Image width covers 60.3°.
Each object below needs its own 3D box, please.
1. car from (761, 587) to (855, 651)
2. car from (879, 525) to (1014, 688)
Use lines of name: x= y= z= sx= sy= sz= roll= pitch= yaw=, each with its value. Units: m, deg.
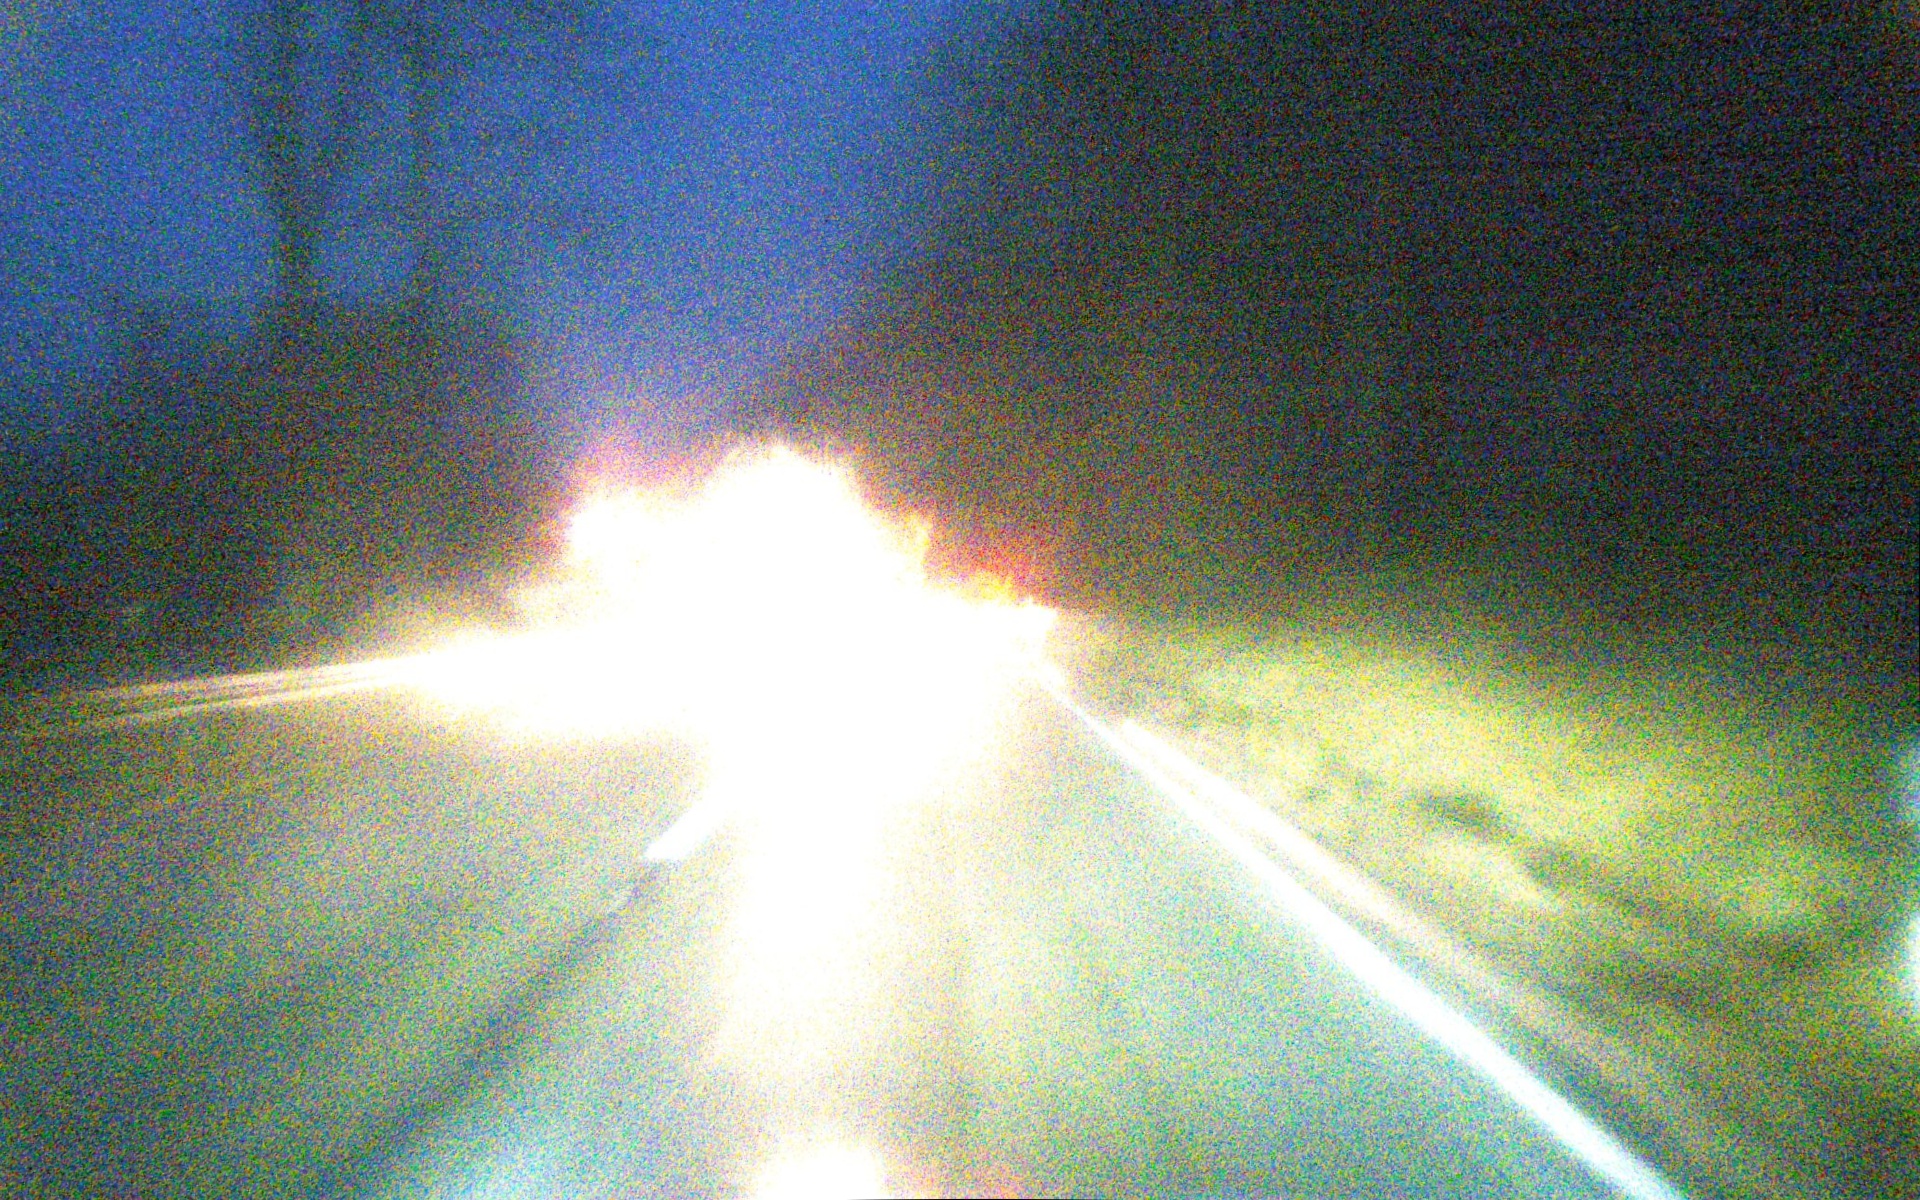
car: x=-3.789 y=0.484 z=41.901 sx=1.880 sy=1.497 sz=4.574 roll=-1 pitch=-1 yaw=1
car: x=-0.251 y=0.030 z=29.357 sx=2.137 sy=2.601 sz=4.508 roll=2 pitch=2 yaw=-1
